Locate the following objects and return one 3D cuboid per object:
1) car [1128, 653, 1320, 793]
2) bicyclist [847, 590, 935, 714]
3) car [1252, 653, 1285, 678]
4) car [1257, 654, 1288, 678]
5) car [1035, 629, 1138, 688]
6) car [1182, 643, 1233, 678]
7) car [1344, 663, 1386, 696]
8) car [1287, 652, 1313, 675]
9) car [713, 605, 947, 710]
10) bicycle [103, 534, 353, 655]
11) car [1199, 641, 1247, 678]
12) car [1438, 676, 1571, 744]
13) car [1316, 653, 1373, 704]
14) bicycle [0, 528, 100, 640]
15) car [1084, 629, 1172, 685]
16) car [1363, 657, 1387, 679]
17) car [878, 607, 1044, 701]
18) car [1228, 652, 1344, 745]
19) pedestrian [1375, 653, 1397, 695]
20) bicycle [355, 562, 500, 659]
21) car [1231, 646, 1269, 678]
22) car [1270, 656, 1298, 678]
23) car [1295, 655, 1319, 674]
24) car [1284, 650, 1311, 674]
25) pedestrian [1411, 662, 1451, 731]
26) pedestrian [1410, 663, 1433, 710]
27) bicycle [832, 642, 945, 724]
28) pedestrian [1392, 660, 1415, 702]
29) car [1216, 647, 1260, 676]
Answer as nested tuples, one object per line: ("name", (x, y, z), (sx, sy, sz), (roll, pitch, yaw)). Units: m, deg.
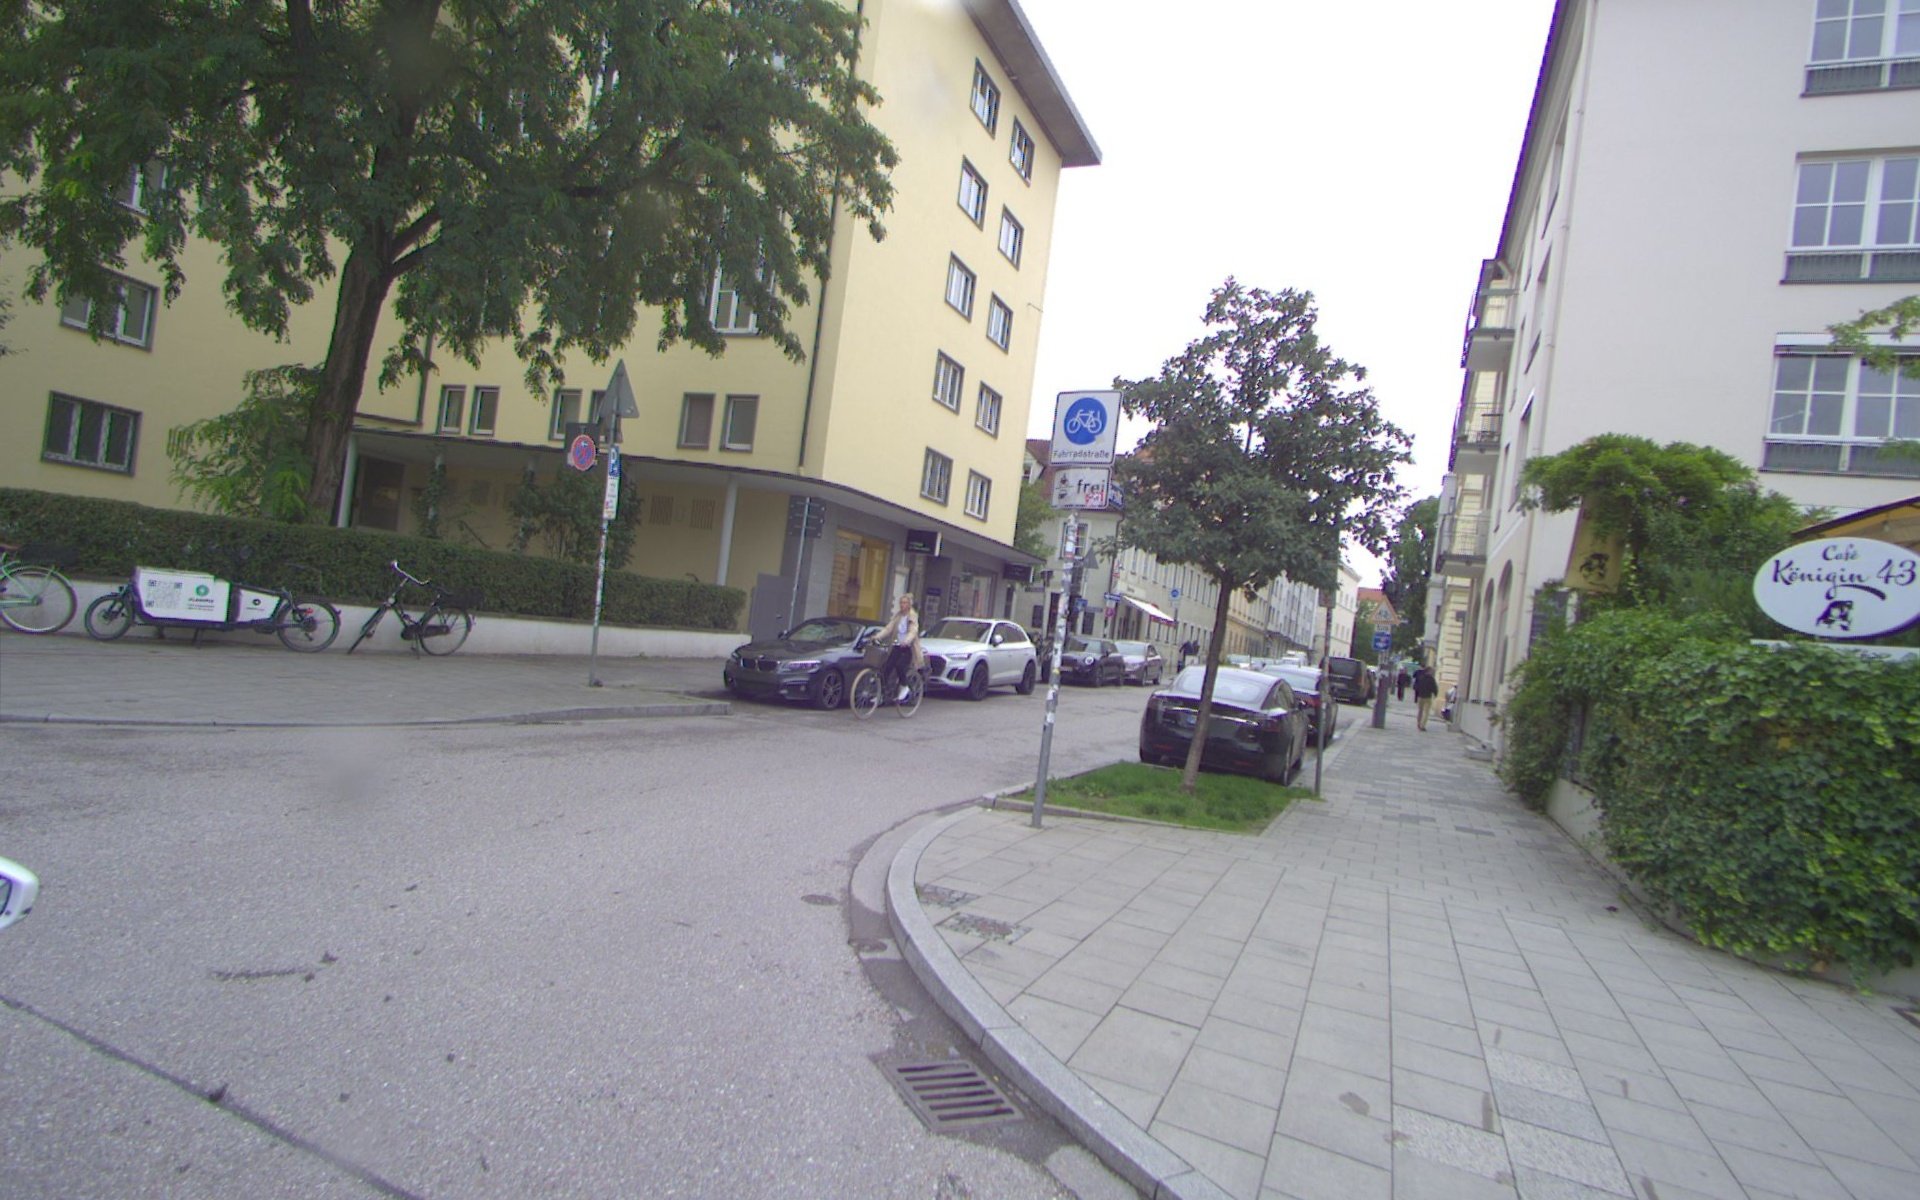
("car", (3.954, 1.637, 14.436), (1.934, 1.415, 4.504), (7, -1, 23))
("bicyclist", (-0.989, 0.765, 14.641), (0.684, 1.676, 1.006), (7, 0, 26))
("car", (20.579, 4.346, 67.036), (1.662, 1.426, 3.999), (7, 0, 21))
("car", (22.122, 4.631, 71.170), (1.662, 1.426, 3.502), (7, 0, 21))
("car", (3.832, 1.767, 29.968), (1.794, 1.417, 3.999), (7, -1, 25))
("car", (12.239, 3.022, 49.611), (1.710, 1.439, 4.000), (7, -1, 23))
("car", (22.515, 4.366, 55.861), (1.797, 1.536, 4.237), (7, 0, 25))
("car", (29.024, 5.430, 85.860), (1.757, 1.682, 4.001), (7, -1, 21))
("car", (-1.955, 0.978, 16.584), (1.633, 1.383, 4.332), (4, -2, 26))
("bicycle", (-8.374, -0.025, 11.618), (0.631, 1.129, 2.166), (7, -1, 41))
("car", (14.186, 3.237, 54.120), (1.757, 1.682, 4.000), (7, -1, 23))
("car", (16.920, 3.407, 31.446), (3.420, 1.548, 1.575), (7, 0, 26))
("car", (16.260, 3.306, 42.449), (1.787, 1.796, 3.998), (7, -1, 25))
("bicycle", (-10.263, -0.223, 10.414), (1.923, 1.098, 0.526), (6, 0, -23))
("car", (5.711, 1.947, 33.771), (1.792, 1.548, 3.999), (7, -1, 24))
("car", (34.592, 5.622, 83.795), (1.673, 1.526, 3.998), (7, 0, 23))
("car", (0.152, 1.116, 21.402), (1.825, 1.682, 4.316), (4, -1, 25))
("car", (6.930, 2.022, 21.111), (1.693, 1.548, 3.998), (7, -1, 25))
("pedestrian", (21.774, 3.769, 51.429), (0.774, 2.038, 0.832), (7, 0, 20))
("bicycle", (-7.051, 0.176, 13.403), (0.452, 1.144, 1.687), (7, -1, 23))
("car", (18.006, 3.863, 62.409), (1.757, 1.682, 4.001), (7, -1, 21))
("car", (24.342, 5.009, 75.476), (1.662, 1.426, 3.502), (7, 0, 21))
("car", (32.850, 6.090, 95.187), (1.673, 1.526, 3.997), (7, 0, 24))
("car", (27.259, 5.023, 81.253), (1.757, 1.682, 4.001), (7, -1, 21))
("pedestrian", (12.788, 2.613, 27.311), (0.774, 1.735, 0.831), (7, 0, 24))
("pedestrian", (21.125, 3.943, 46.044), (0.742, 2.038, 0.831), (7, 0, 25))
("bicycle", (-1.007, 1.204, 14.728), (0.672, 1.036, 1.966), (7, -1, 25))
("pedestrian", (22.544, 4.127, 51.156), (0.774, 2.038, 0.832), (7, 0, 20))
("car", (16.103, 3.568, 58.100), (1.757, 1.431, 3.999), (7, -1, 23))
